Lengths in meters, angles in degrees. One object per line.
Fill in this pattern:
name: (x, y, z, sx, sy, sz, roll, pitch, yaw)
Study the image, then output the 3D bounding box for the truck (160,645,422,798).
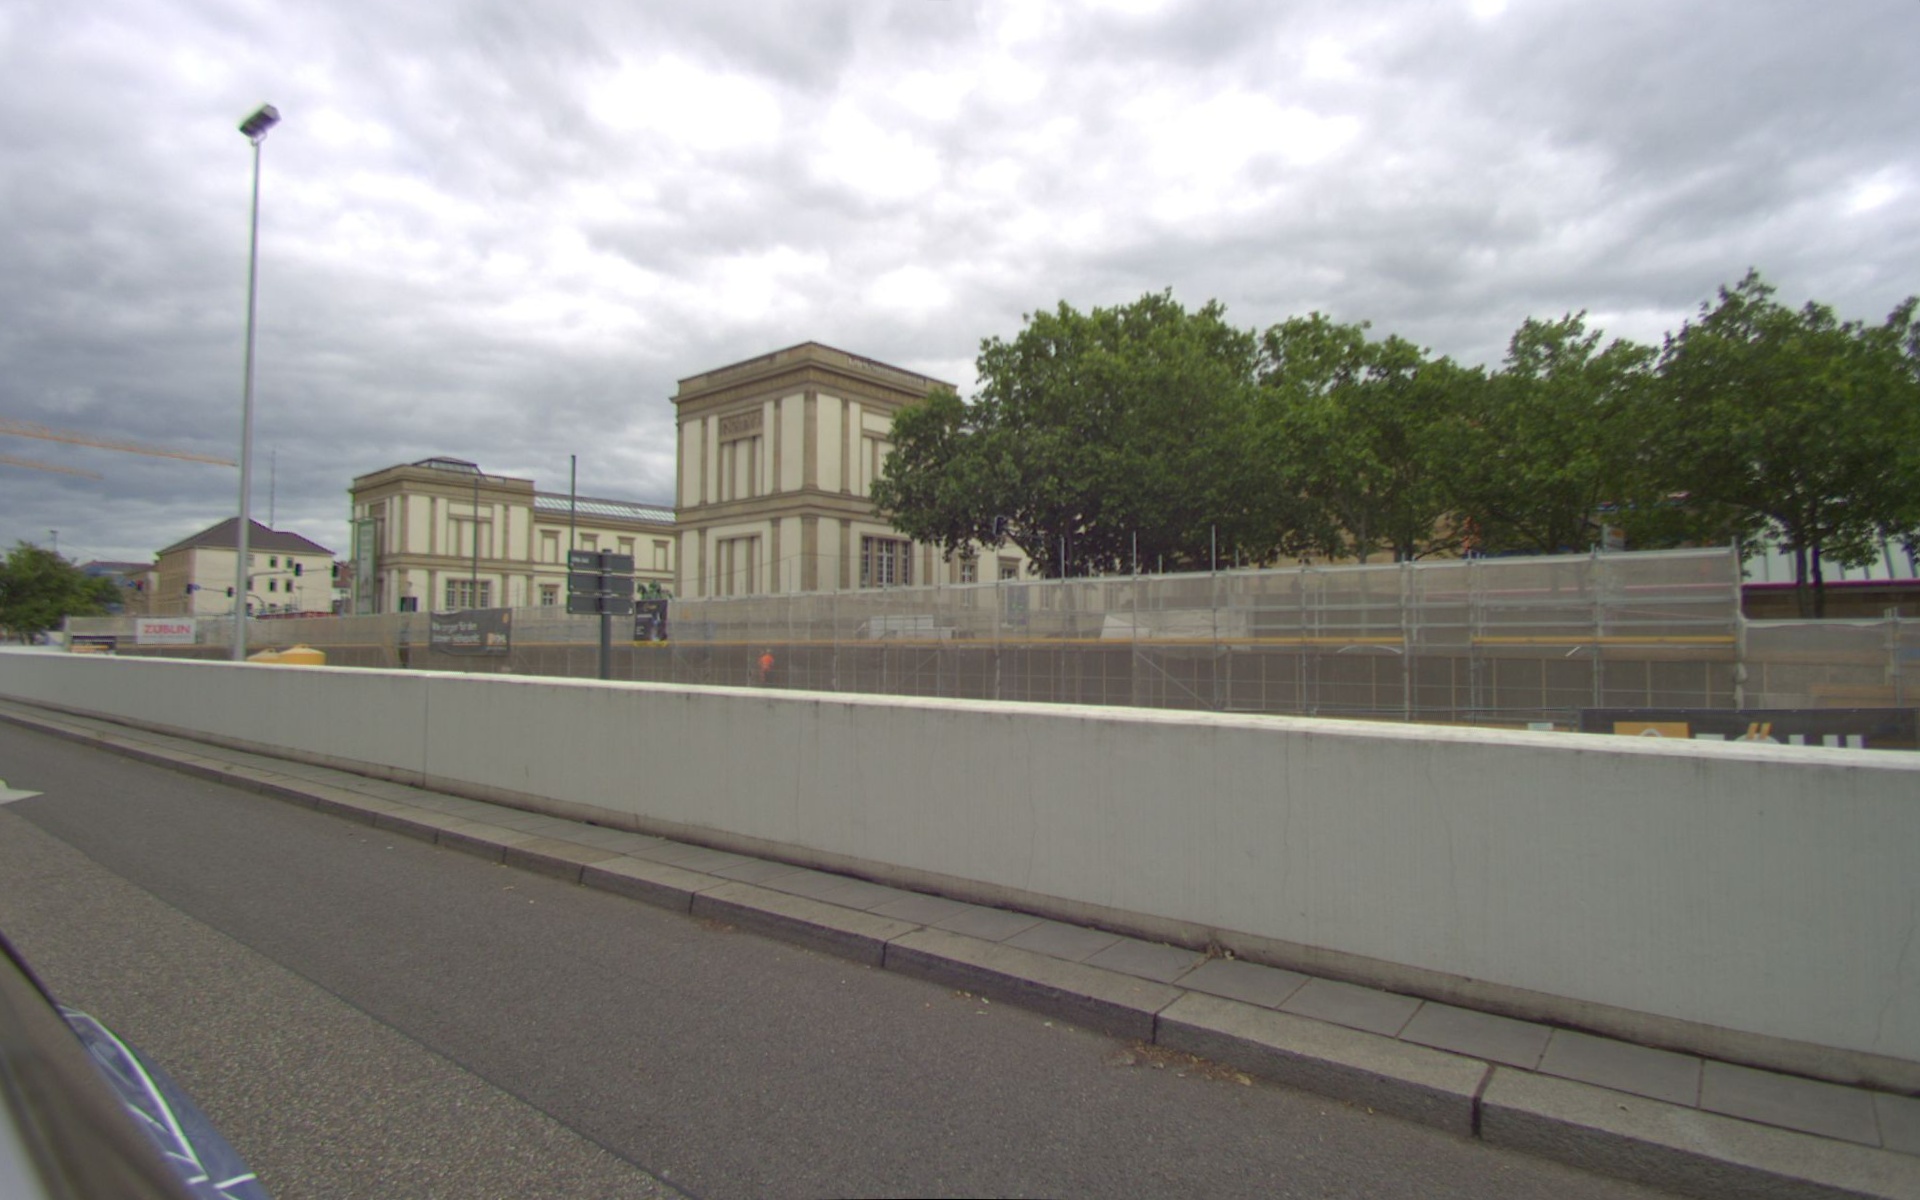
truck: (-14.159, 2.402, 21.231, 6.664, 2.733, 2.578, -4, -5, 38)

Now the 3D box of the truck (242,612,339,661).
truck: (-61.348, 3.493, 92.443, 16.602, 4.114, 2.887, -3, -5, 41)
